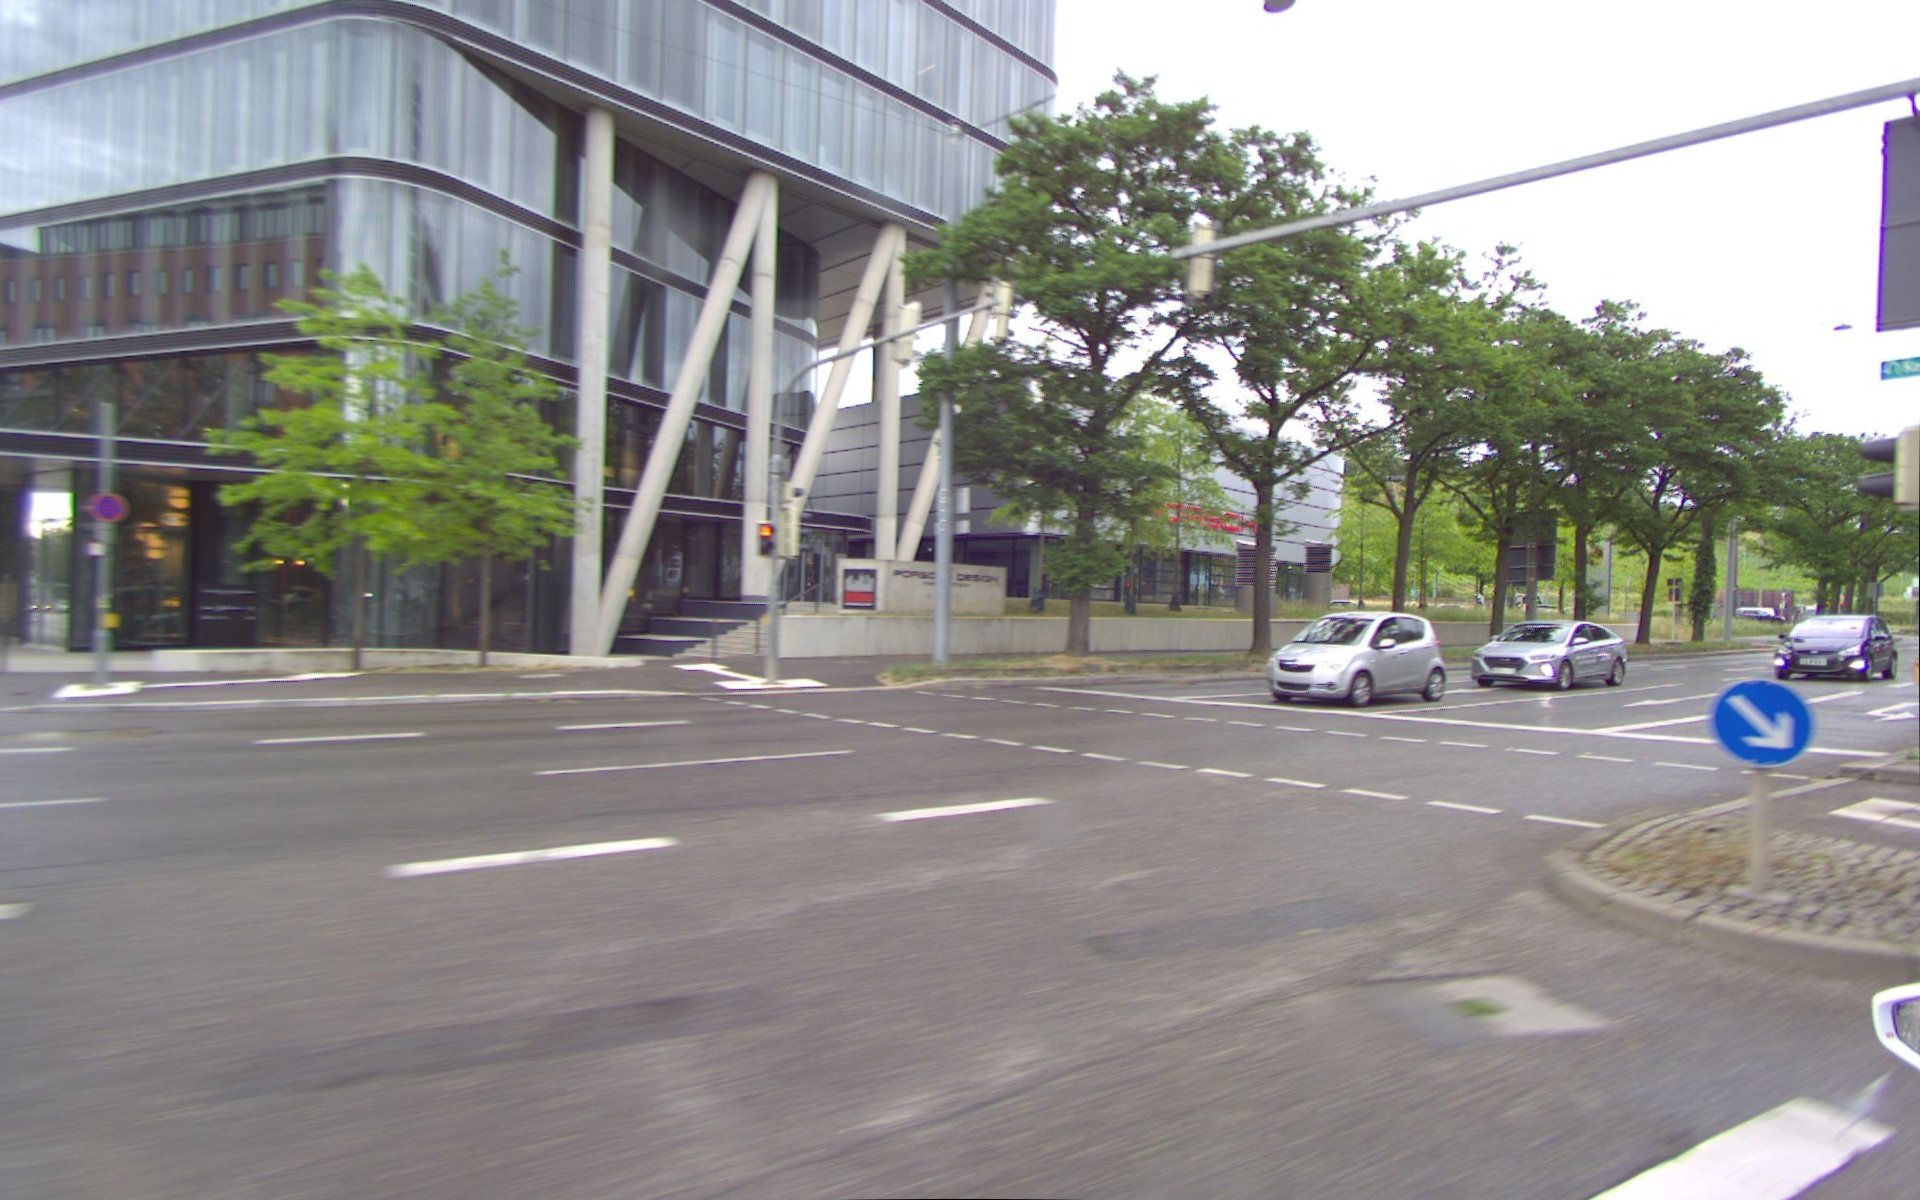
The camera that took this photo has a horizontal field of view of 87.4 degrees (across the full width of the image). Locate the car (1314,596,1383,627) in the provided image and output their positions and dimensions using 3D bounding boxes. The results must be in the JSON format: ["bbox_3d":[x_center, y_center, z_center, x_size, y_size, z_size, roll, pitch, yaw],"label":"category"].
[{"bbox_3d":[26.194,0.754,67.773,3.937,2.040,1.992,1,0,38],"label":"car"}]

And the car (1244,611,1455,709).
[{"bbox_3d":[6.899,0.990,17.666,3.781,1.540,1.737,1,-1,-37],"label":"car"}]

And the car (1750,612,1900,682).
[{"bbox_3d":[22.489,1.153,26.057,5.074,1.637,1.979,1,-1,-38],"label":"car"}]

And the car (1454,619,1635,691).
[{"bbox_3d":[12.936,1.144,22.119,4.611,1.430,1.801,1,-1,-37],"label":"car"}]
